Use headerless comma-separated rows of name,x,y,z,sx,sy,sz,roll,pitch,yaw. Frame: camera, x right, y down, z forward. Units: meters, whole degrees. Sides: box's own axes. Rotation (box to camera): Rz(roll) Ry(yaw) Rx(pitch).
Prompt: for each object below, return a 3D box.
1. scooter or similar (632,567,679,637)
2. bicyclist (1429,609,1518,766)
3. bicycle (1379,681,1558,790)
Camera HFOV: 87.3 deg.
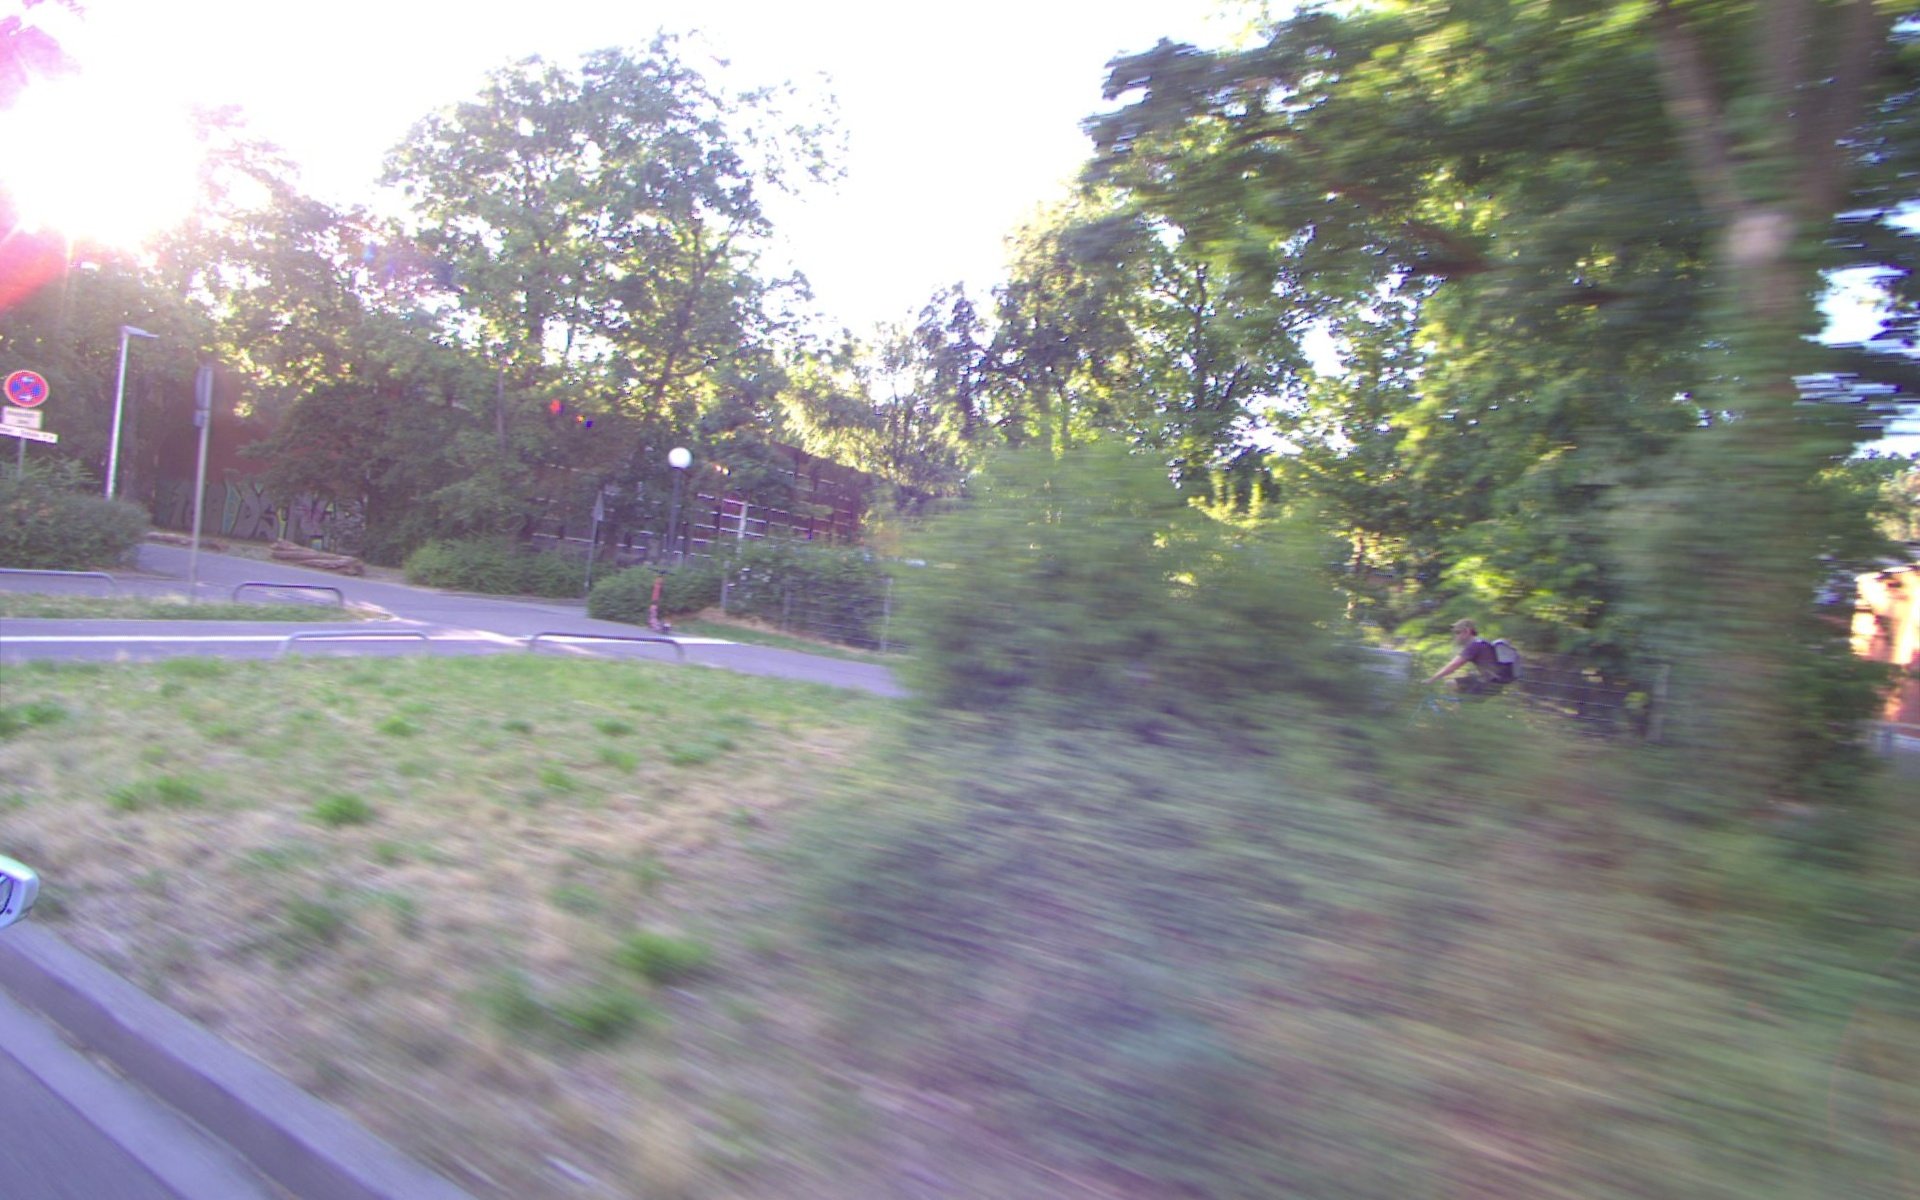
scooter or similar,-5.878,0.020,19.376,0.383,1.223,1.457,5,2,-32
bicyclist,5.859,0.974,11.481,0.712,1.666,0.532,7,2,29
bicycle,5.788,1.521,11.512,1.692,0.930,0.532,7,2,29
